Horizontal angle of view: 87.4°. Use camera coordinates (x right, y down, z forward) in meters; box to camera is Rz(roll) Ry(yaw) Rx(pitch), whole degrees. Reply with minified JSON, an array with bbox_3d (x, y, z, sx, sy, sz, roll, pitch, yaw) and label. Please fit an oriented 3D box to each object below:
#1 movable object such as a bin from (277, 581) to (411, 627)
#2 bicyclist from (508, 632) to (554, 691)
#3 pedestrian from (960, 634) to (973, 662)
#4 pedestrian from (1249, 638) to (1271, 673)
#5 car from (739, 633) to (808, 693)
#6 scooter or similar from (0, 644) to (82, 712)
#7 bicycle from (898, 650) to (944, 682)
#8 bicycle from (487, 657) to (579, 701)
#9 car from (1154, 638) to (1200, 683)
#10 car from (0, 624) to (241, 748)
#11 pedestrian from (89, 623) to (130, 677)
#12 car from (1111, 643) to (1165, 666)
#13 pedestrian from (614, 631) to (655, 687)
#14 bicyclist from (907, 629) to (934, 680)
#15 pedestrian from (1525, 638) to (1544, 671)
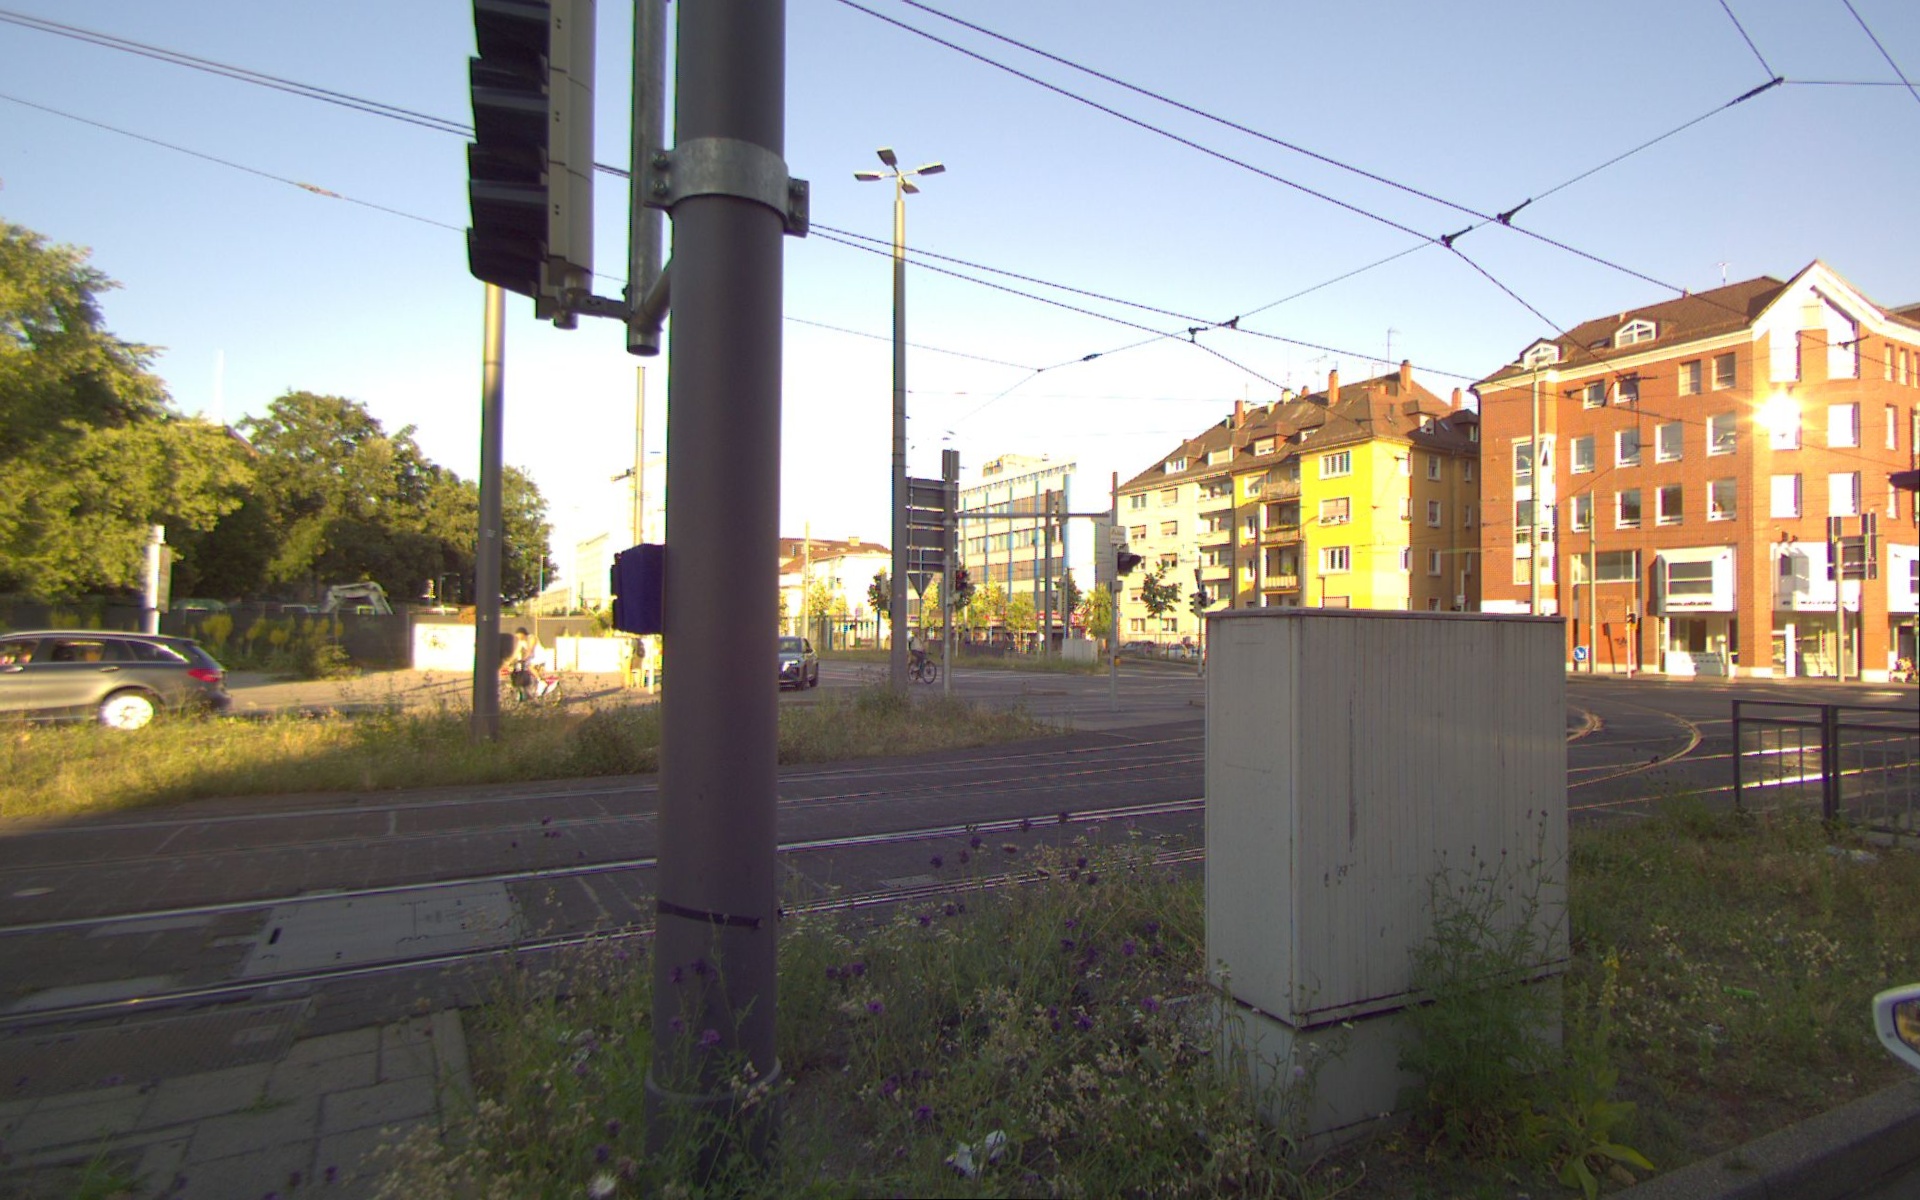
[{"bbox_3d":[-28.332,0.212,46.294,4.924,2.040,2.001,0,-2,1],"label":"movable object such as a bin"},{"bbox_3d":[-9.559,1.358,22.391,0.658,1.274,0.725,-1,-2,40],"label":"bicyclist"},{"bbox_3d":[0.377,2.790,58.731,0.558,1.611,0.686,1,-2,-26],"label":"pedestrian"},{"bbox_3d":[13.206,2.436,44.188,0.695,1.561,0.635,1,-2,-13],"label":"pedestrian"},{"bbox_3d":[-5.689,1.893,30.993,1.914,1.682,4.529,1,-2,-9],"label":"car"},{"bbox_3d":[-18.799,1.553,20.238,0.452,1.309,1.654,0,-2,16],"label":"scooter or similar"},{"bbox_3d":[-1.355,2.235,34.319,0.591,1.036,1.826,2,-3,-39],"label":"bicycle"},{"bbox_3d":[-9.515,1.740,22.441,0.670,0.904,1.789,-1,-2,39],"label":"bicycle"},{"bbox_3d":[17.195,4.827,79.683,1.717,1.418,3.571,5,-46,-26],"label":"car"},{"bbox_3d":[-12.788,1.151,13.988,4.367,1.537,1.982,2,0,-33],"label":"car"},{"bbox_3d":[-27.135,1.582,32.053,0.753,1.687,0.818,1,-2,-23],"label":"pedestrian"},{"bbox_3d":[14.891,4.568,84.171,2.096,1.727,4.313,5,-3,-31],"label":"car"},{"bbox_3d":[-10.315,1.864,31.878,0.805,1.758,0.944,0,-2,19],"label":"pedestrian"},{"bbox_3d":[-1.367,1.851,34.344,0.591,1.693,0.740,2,-2,-39],"label":"bicyclist"},{"bbox_3d":[31.557,2.978,55.134,0.807,1.801,0.632,2,-2,-36],"label":"pedestrian"}]
